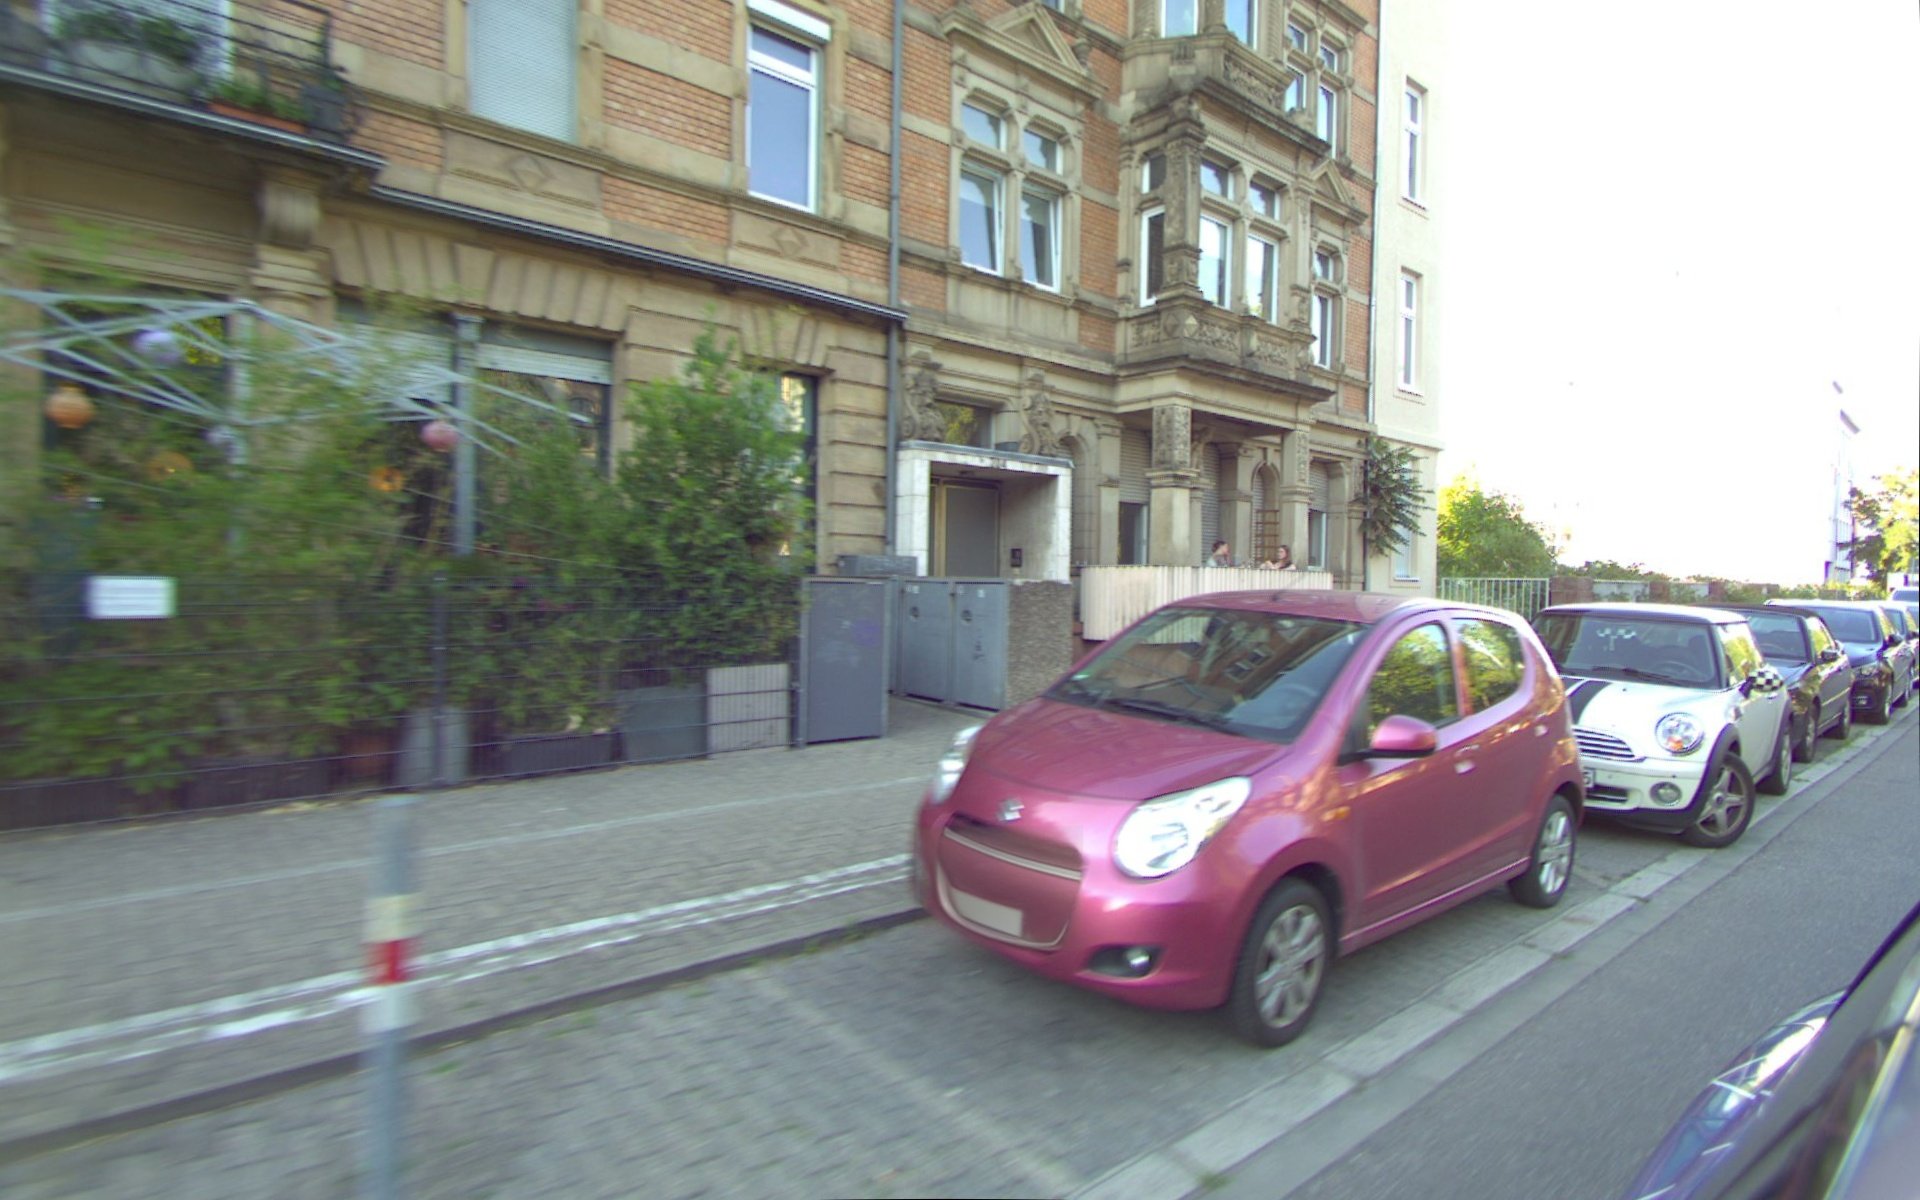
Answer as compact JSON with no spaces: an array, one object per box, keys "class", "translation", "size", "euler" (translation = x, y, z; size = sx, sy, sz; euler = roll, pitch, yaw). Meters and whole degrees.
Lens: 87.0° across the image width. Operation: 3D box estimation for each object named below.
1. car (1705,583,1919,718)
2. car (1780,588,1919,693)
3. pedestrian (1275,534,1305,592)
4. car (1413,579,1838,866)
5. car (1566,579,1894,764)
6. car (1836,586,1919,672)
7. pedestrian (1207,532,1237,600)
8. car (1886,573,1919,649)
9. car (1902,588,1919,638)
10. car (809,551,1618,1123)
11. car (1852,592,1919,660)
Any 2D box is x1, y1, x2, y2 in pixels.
[{"class":"car","translation":[12.071,0.564,14.048],"size":[4.388,1.465,1.891],"euler":[-1,5,-42]},{"class":"car","translation":[15.273,0.587,16.968],"size":[3.775,1.443,1.750],"euler":[-1,5,-42]},{"class":"pedestrian","translation":[5.073,-0.560,15.566],"size":[0.313,0.881,0.310],"euler":[-1,-1,-8]},{"class":"car","translation":[4.903,0.631,7.275],"size":[3.615,1.443,1.680],"euler":[-1,5,-43]},{"class":"car","translation":[8.242,0.578,10.690],"size":[4.267,1.443,1.892],"euler":[0,5,-42]},{"class":"car","translation":[18.978,0.538,20.272],"size":[3.828,1.505,1.703],"euler":[-1,5,-43]},{"class":"pedestrian","translation":[4.091,-0.531,15.814],"size":[0.313,1.042,0.404],"euler":[-1,-1,-9]},{"class":"car","translation":[27.084,0.318,27.631],"size":[5.087,1.941,1.892],"euler":[0,4,-40]},{"class":"car","translation":[32.595,0.450,33.374],"size":[4.422,1.593,1.778],"euler":[0,4,-42]},{"class":"car","translation":[1.298,0.607,4.512],"size":[3.484,1.482,1.731],"euler":[0,5,-40]},{"class":"car","translation":[22.573,0.576,23.866],"size":[4.563,1.401,1.732],"euler":[-1,5,-42]}]
